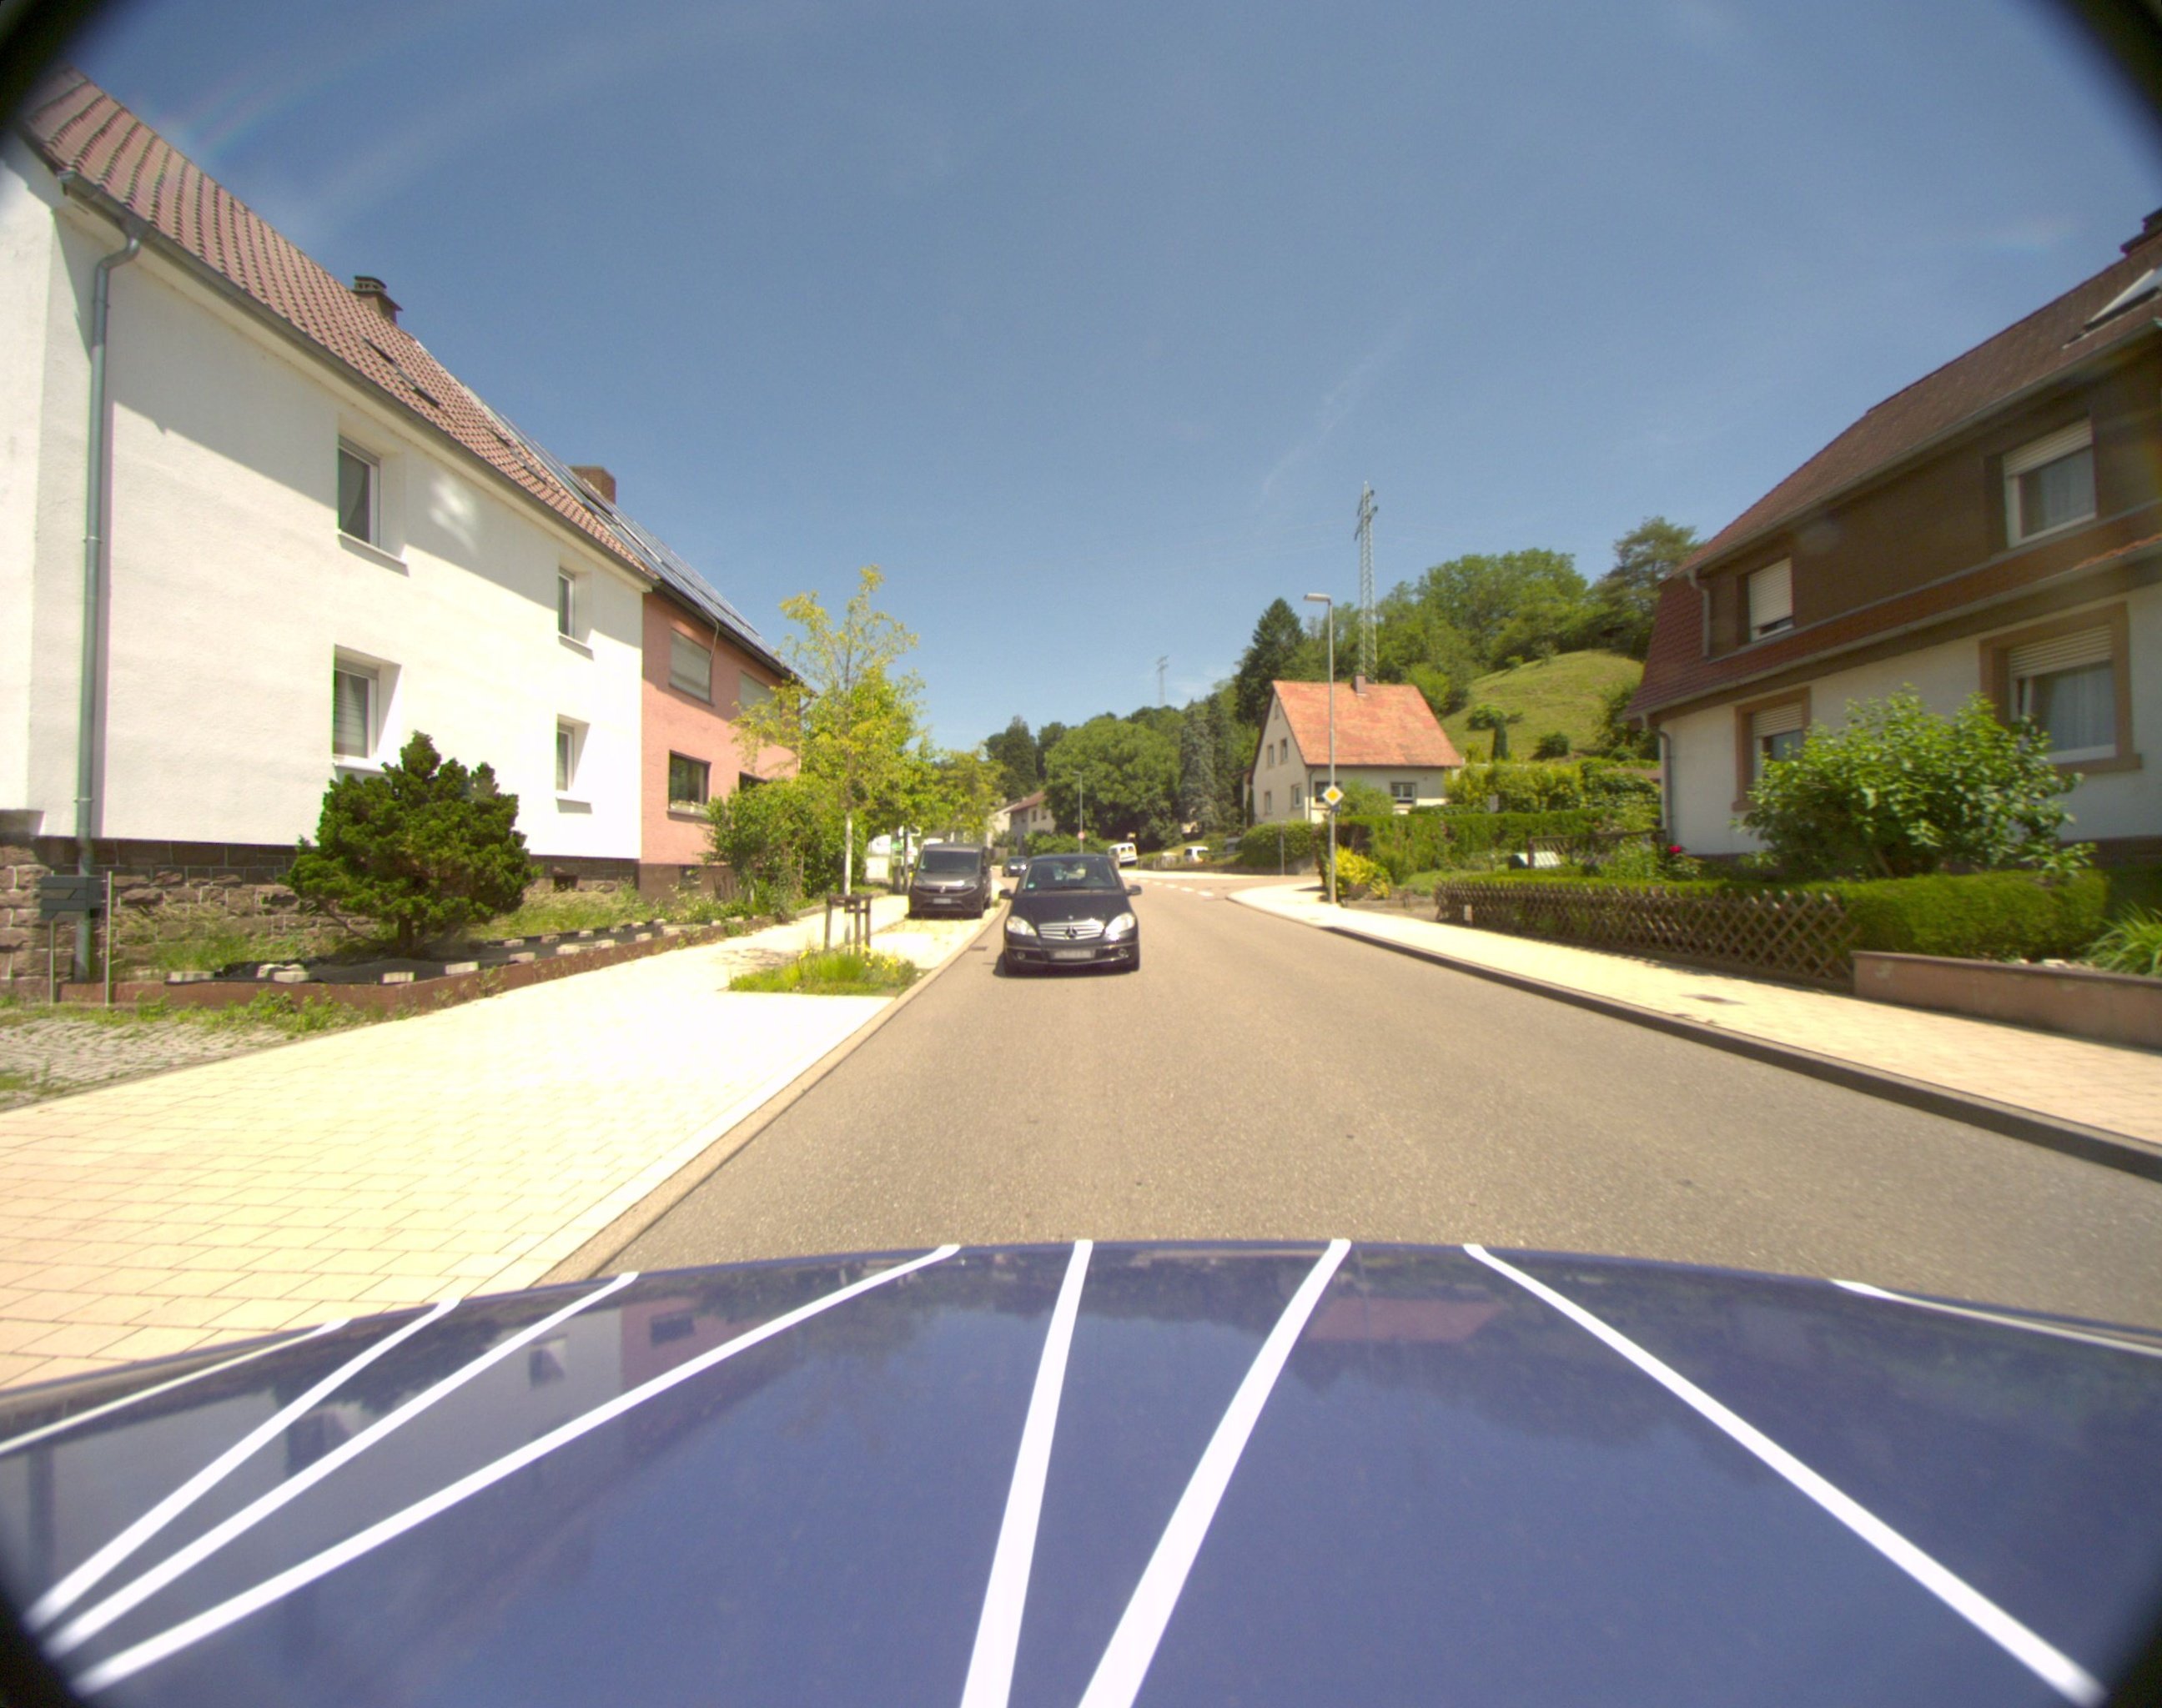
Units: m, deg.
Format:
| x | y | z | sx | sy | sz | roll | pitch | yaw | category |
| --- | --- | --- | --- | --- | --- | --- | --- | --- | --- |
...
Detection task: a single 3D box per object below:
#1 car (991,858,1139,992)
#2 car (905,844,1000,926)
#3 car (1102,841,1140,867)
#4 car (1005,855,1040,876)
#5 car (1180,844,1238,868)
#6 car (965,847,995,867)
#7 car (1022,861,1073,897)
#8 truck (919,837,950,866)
| x | y | z | sx | sy | sz | roll | pitch | yaw | category |
| --- | --- | --- | --- | --- | --- | --- | --- | --- | --- |
| -0.116 | 0.881 | 11.342 | 1.790 | 1.595 | 4.076 | -1 | 0 | 2 | car |
| -3.162 | 0.694 | 19.572 | 1.860 | 1.832 | 4.669 | 1 | 0 | -3 | car |
| 3.162 | -0.022 | 61.068 | 1.706 | 1.937 | 3.993 | -2 | 1 | -18 | car |
| -4.042 | 0.742 | 51.994 | 1.912 | 1.342 | 3.995 | -1 | 0 | -12 | car |
| 9.840 | 0.142 | 58.369 | 4.004 | 1.779 | 1.807 | -2 | 1 | -22 | car |
| -9.422 | 0.294 | 70.798 | 1.971 | 1.823 | 4.457 | 0 | 0 | -18 | car |
| -1.376 | 0.934 | 29.910 | 1.668 | 1.253 | 3.549 | -1 | 0 | -8 | car |
| -18.036 | -0.300 | 93.187 | 2.810 | 3.394 | 8.107 | -1 | 0 | -18 | truck |
